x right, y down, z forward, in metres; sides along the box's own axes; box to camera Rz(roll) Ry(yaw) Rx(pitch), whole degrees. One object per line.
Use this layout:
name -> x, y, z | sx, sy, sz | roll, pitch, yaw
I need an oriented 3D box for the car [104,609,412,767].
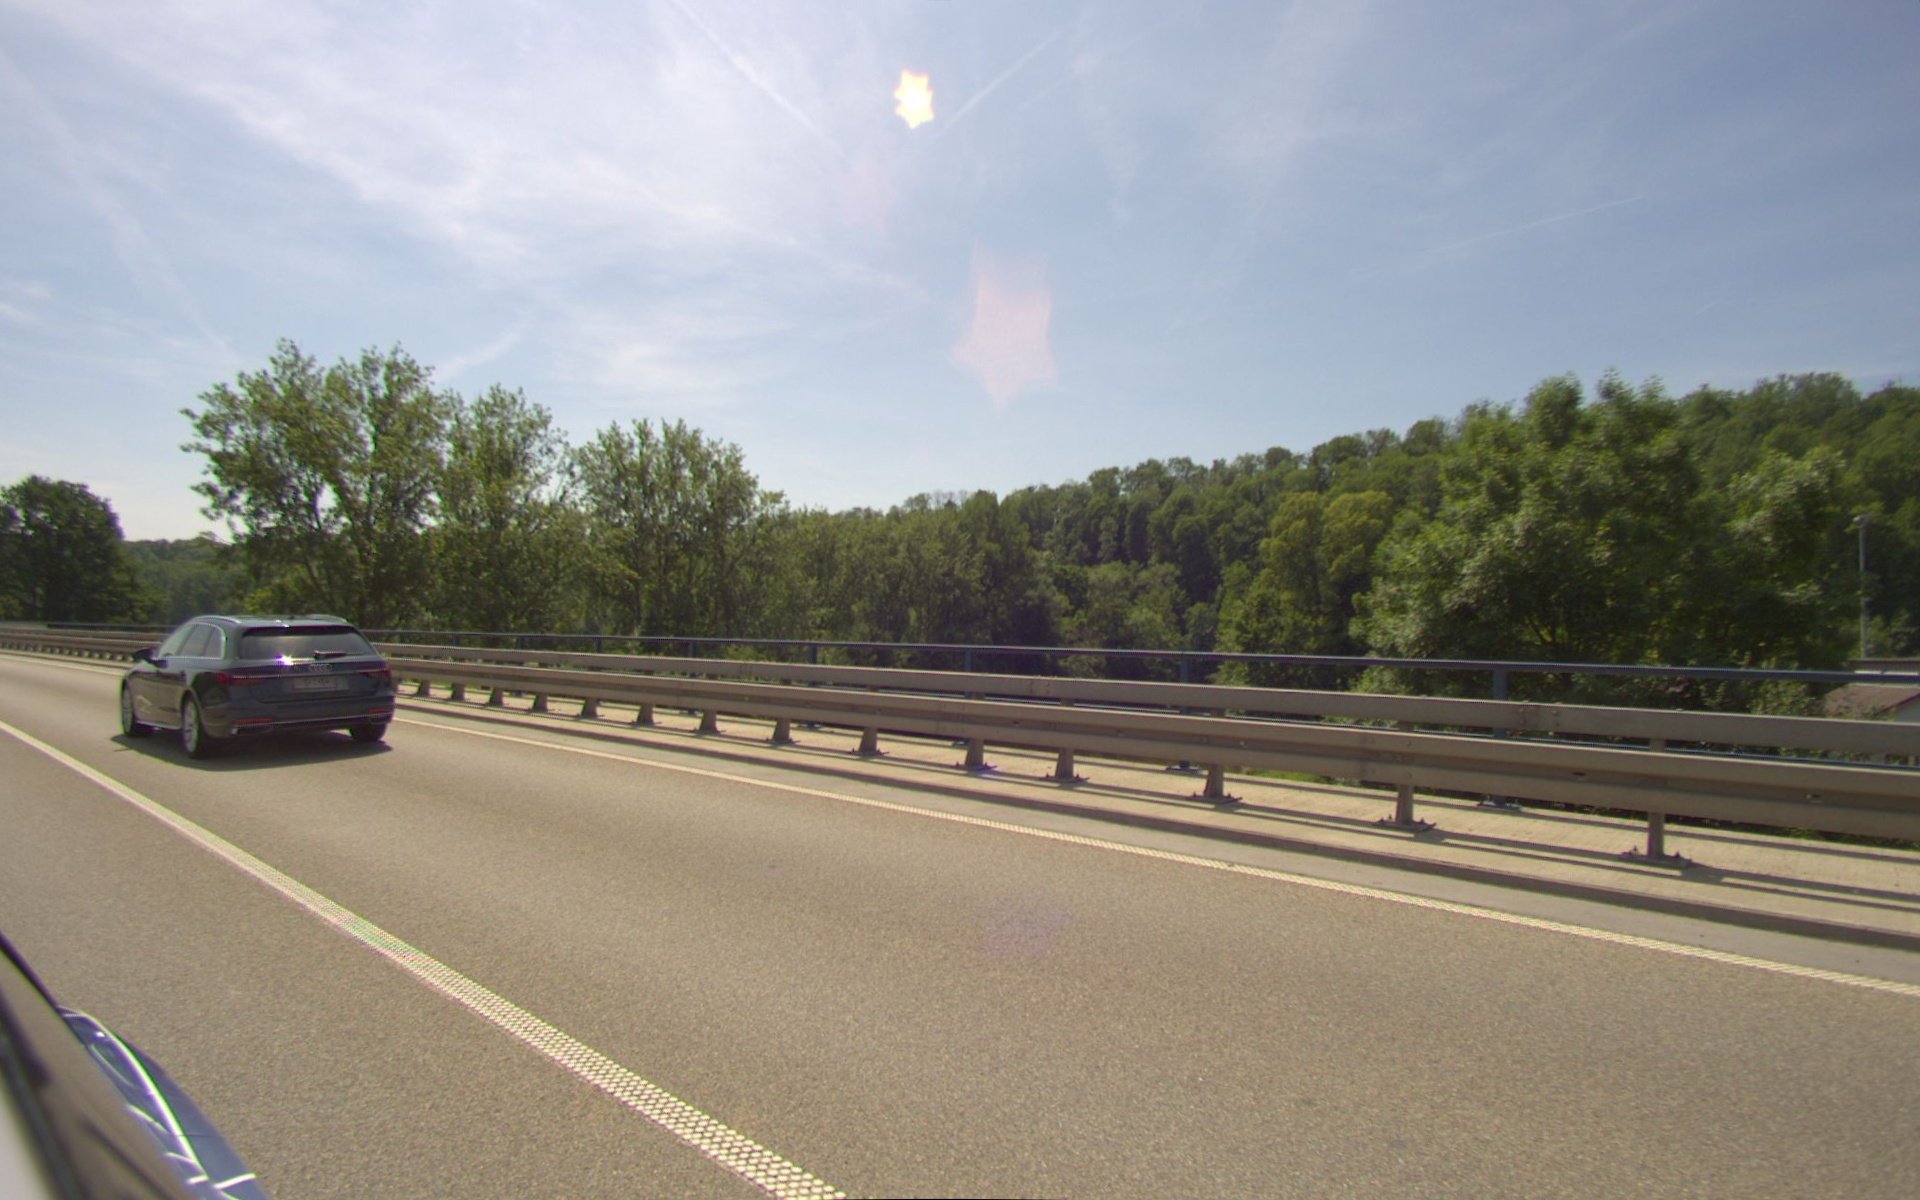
car -> -8.061, 0.843, 11.441 | 4.613, 1.446, 1.703 | -1, -1, 40
